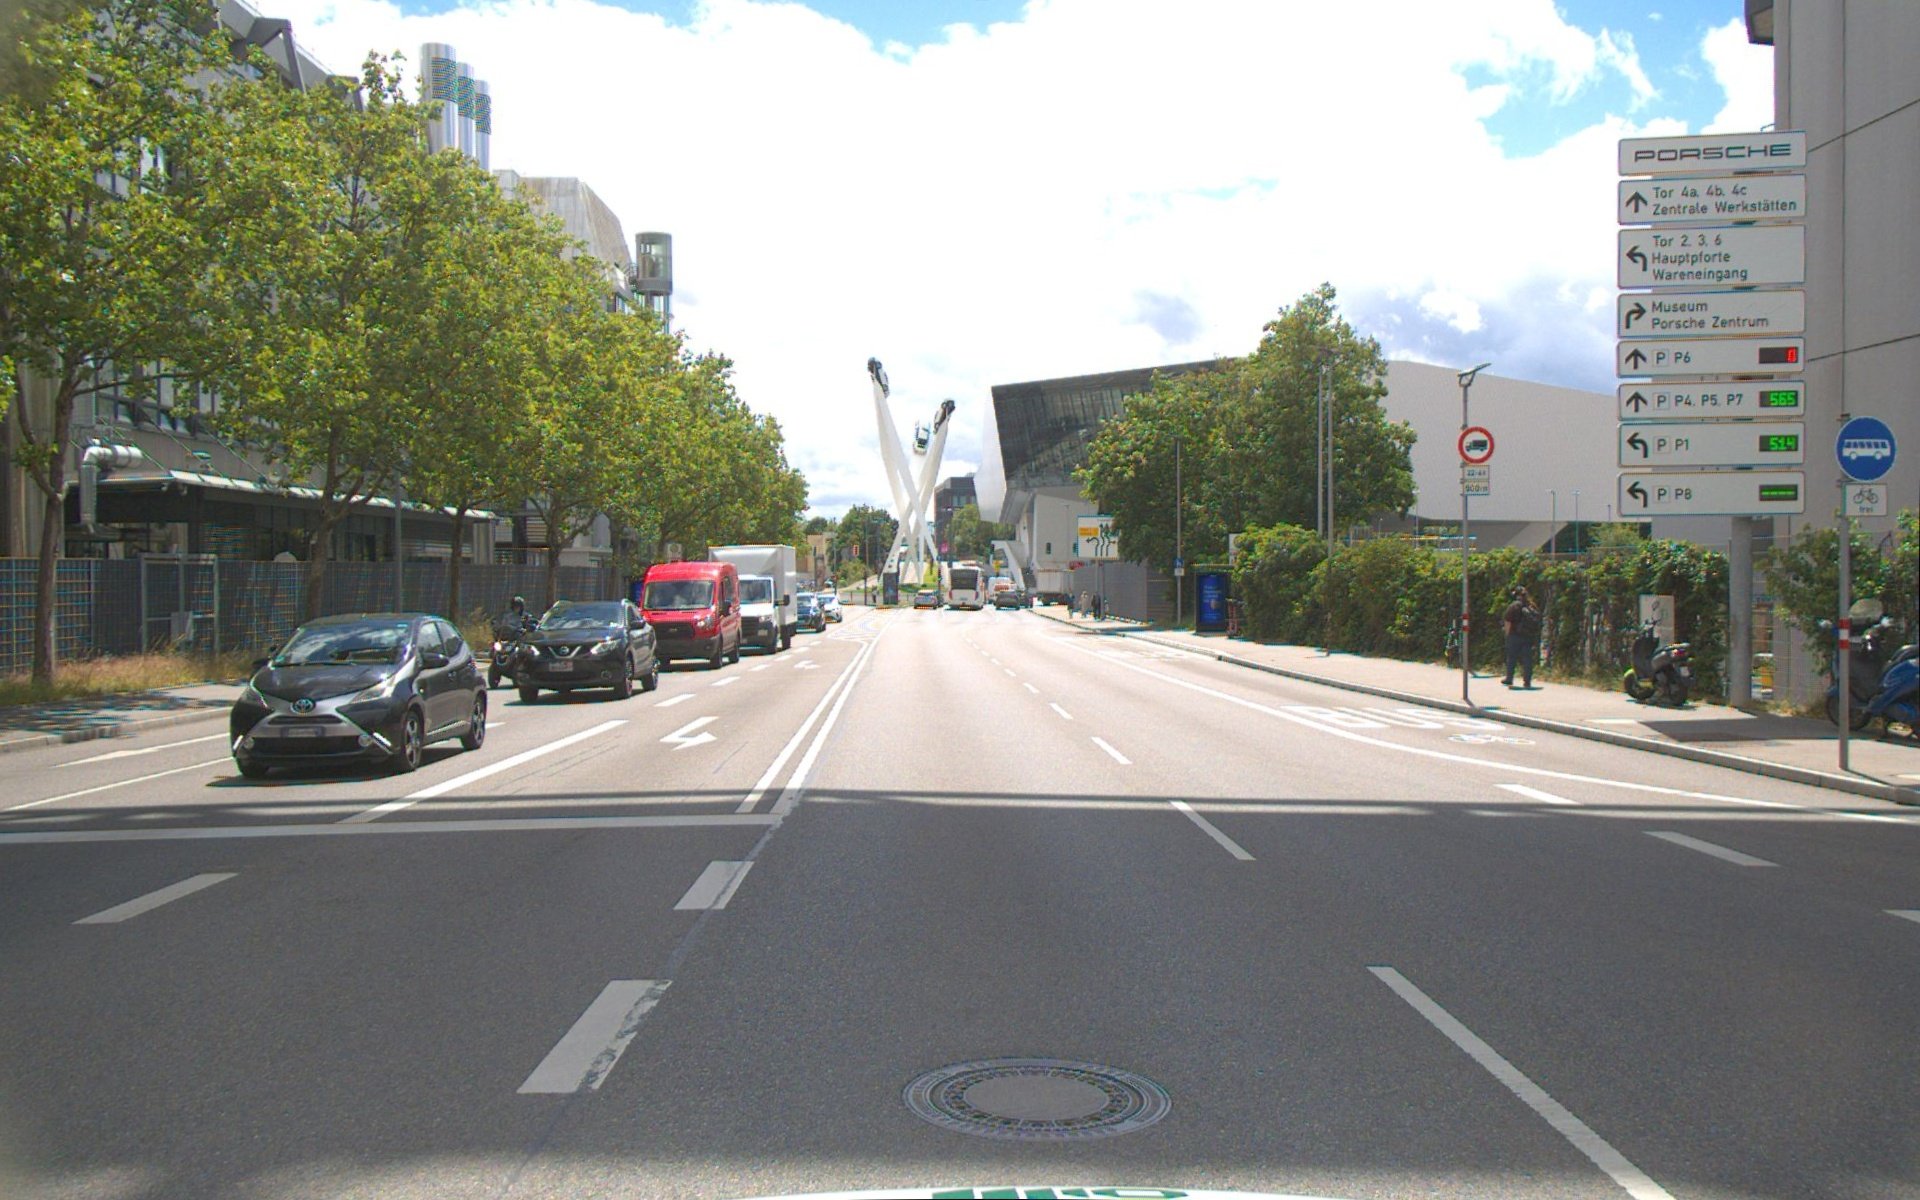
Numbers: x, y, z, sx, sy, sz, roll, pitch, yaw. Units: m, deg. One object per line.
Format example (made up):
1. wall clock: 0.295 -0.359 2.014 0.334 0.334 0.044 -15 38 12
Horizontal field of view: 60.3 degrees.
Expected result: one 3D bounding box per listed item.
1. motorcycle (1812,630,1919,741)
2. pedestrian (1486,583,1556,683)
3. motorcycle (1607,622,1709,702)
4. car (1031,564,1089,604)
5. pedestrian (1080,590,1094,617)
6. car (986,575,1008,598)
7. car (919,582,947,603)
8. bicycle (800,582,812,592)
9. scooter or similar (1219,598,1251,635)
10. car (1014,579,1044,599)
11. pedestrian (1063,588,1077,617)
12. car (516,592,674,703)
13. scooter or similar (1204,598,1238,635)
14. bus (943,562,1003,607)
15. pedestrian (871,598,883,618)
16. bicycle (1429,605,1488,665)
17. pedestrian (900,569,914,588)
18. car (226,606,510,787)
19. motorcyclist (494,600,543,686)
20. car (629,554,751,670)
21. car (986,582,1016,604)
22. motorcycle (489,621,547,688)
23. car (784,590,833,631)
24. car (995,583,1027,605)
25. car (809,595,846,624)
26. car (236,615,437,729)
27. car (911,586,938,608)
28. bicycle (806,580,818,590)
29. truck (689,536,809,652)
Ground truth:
1. motorcycle: 10.217 0.906 18.194 0.579 1.086 2.037 -2 0 -1
2. pedestrian: 9.705 0.564 28.650 0.793 1.673 0.997 -2 0 -3
3. motorcycle: 10.214 0.886 24.274 0.579 1.086 2.037 -1 0 -1
4. car: 9.519 -1.489 156.786 3.265 3.565 9.346 1 0 18
5. pedestrian: 7.668 0.218 100.021 0.778 1.625 0.731 1 -1 -1
6. car: 3.731 -1.371 167.031 1.951 2.209 4.658 1 0 4
7. car: -2.263 -0.599 139.127 1.951 1.665 4.002 1 0 4
8. bicycle: -20.650 -1.788 222.235 1.573 1.339 0.492 1 -1 -2
9. scooter or similar: 9.157 0.539 54.990 0.531 1.183 1.791 -1 0 26
10. car: 5.910 -0.918 141.531 1.951 1.665 4.003 1 0 12
11. pedestrian: 6.661 0.137 100.166 0.778 1.751 0.731 1 -1 -1
12. car: -6.095 0.754 28.095 1.700 1.713 4.213 1 0 0
13. scooter or similar: 8.828 0.545 55.876 0.531 1.183 2.126 -1 0 26
14. bus: 1.143 -1.154 133.683 3.006 3.421 12.233 1 0 9
15. pedestrian: -7.573 0.718 150.753 0.849 1.805 1.031 1 0 -14
16. bicycle: 10.457 0.719 34.751 0.434 1.200 2.468 1 0 -1
17. pedestrian: -5.503 -2.290 172.311 1.259 1.847 0.985 -4 4 -10
18. car: -5.766 0.866 16.541 1.526 1.531 3.612 -2 0 -1
19. motorcyclist: -8.707 0.837 32.656 0.718 1.651 1.094 1 0 -4
20. car: -6.415 0.259 39.880 2.021 2.551 5.479 -2 0 -1
21. car: 3.784 -0.625 152.285 1.951 1.966 4.244 1 0 12
22. motorcycle: -8.698 1.056 32.602 0.661 1.241 2.374 1 0 -5
23. car: -6.419 0.430 70.444 1.704 1.608 4.266 -2 0 -1
24. car: 4.127 -0.488 133.715 1.951 1.665 4.004 1 1 12
25. car: -7.114 0.498 88.915 1.657 1.439 4.145 -2 0 -1
26. car: -9.128 0.999 24.538 1.545 1.453 3.919 -2 0 -2
27. car: -2.770 -0.246 129.876 1.953 1.665 4.000 1 0 0
28. bicycle: -20.044 -2.009 223.731 1.573 1.407 0.492 1 -1 -2
29. truck: -6.185 -0.150 49.540 2.401 3.183 7.244 1 0 2
